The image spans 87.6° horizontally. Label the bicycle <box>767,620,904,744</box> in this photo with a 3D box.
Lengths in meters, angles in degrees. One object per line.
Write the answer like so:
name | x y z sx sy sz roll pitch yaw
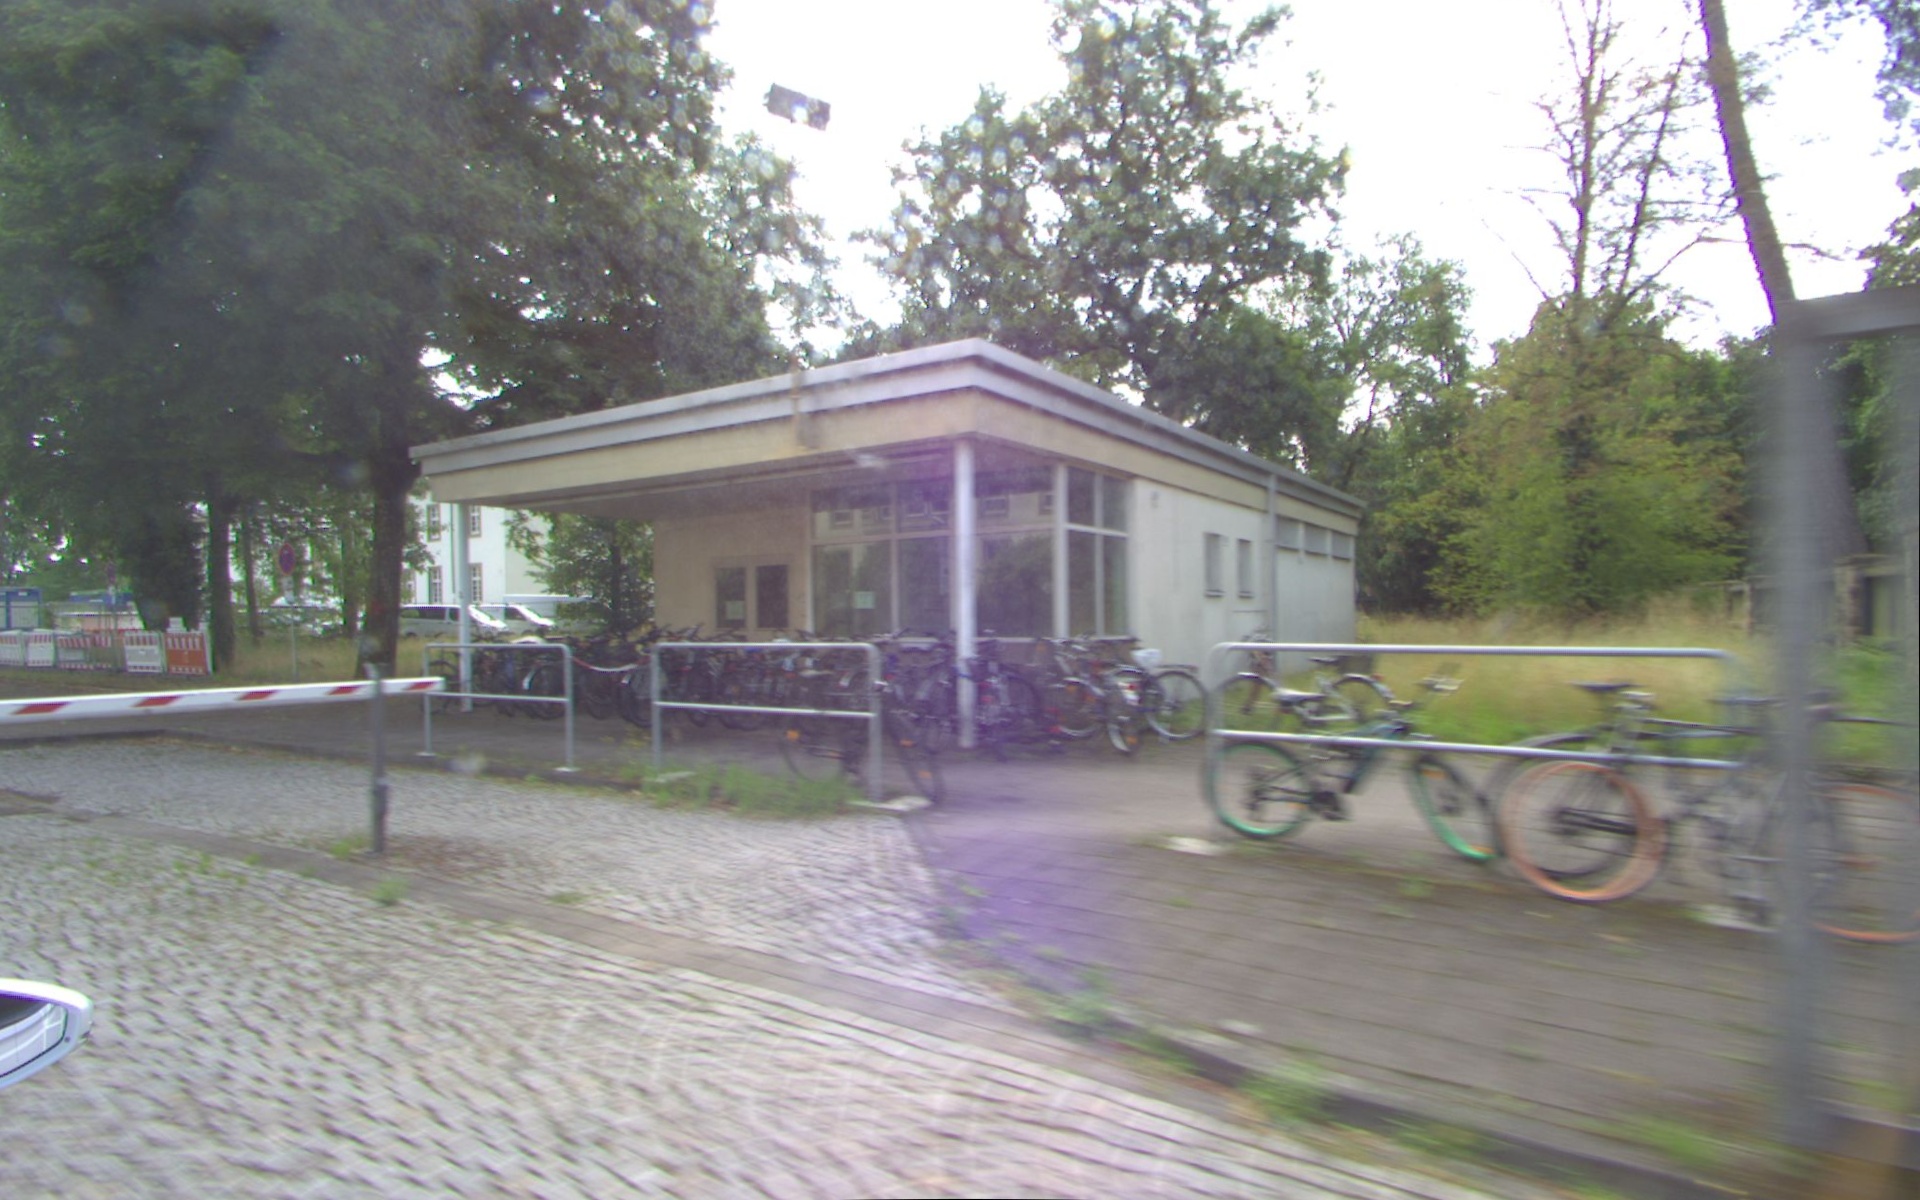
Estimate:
bicycle | -1.302 0.841 10.945 0.386 1.186 2.070 -3 -1 26

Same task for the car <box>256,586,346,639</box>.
car | -32.585 0.654 49.449 5.287 2.455 1.987 -2 -1 36

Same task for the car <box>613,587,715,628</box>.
car | -16.626 0.452 56.181 5.617 1.982 2.435 -3 -1 35

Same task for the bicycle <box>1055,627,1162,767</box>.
bicycle | 1.381 0.868 9.569 0.428 1.134 1.651 -2 2 -12

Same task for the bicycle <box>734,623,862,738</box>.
bicycle | -1.839 0.891 11.714 0.395 1.186 2.016 -2 -1 24

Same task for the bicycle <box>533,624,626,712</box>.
bicycle | -5.471 0.954 14.463 0.353 1.186 1.378 -3 -1 24

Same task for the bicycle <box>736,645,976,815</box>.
bicycle | -0.789 0.904 7.456 1.689 1.087 0.728 -1 1 33

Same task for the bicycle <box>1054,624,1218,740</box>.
bicycle | 1.768 0.802 10.149 1.572 1.098 0.434 -1 0 31

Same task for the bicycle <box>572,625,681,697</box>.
bicycle | -5.449 0.983 16.332 1.866 1.134 0.371 -1 0 22

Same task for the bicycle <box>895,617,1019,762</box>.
bicycle | 0.000 0.825 9.650 0.430 1.187 1.387 -3 3 33

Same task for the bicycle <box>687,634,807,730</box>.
bicycle | -2.597 0.977 12.458 0.394 1.042 1.980 -3 -1 21

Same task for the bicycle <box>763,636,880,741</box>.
bicycle | -1.525 0.959 11.306 0.348 1.044 1.769 -3 -1 26

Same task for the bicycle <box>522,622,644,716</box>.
bicycle | -5.248 0.932 14.040 0.353 1.186 1.799 -3 -1 26

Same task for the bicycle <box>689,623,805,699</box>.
bicycle | -3.361 0.970 15.767 1.866 1.133 0.371 -2 0 22

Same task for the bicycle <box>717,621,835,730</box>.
bicycle | -2.207 0.882 12.297 0.394 1.186 1.980 -3 -1 21

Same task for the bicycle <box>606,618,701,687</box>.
bicycle | -5.289 0.912 17.235 1.871 1.143 0.370 -3 0 31

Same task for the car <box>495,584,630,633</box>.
car | -20.252 0.445 51.161 6.079 2.338 2.000 -1 -1 1

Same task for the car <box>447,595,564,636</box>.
car | -21.963 0.753 48.497 4.746 1.812 2.000 -1 -1 5

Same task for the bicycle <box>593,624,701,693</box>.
bicycle | -5.215 0.978 16.658 1.866 1.097 0.371 -2 0 22

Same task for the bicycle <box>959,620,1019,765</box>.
bicycle | 0.299 0.819 9.447 0.428 1.186 1.652 -3 1 5

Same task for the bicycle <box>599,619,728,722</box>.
bicycle | -3.743 0.864 12.805 0.573 1.186 1.802 -3 -1 20

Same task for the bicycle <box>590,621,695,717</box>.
bicycle | -4.257 0.895 13.565 0.488 1.186 1.805 -3 -1 12

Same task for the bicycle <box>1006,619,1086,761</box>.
bicycle | 0.793 0.805 9.617 0.428 1.186 1.652 -3 1 -5

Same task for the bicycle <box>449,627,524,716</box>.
bicycle | -6.720 0.989 14.270 0.352 1.186 1.383 -3 -1 0

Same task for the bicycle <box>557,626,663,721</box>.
bicycle | -4.756 0.970 13.726 0.488 1.186 1.749 -3 -1 12

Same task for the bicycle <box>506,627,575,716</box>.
bicycle | -5.930 0.984 14.213 0.352 1.186 1.383 -3 -1 0

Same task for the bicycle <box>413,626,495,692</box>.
bicycle | -8.860 1.011 17.524 1.561 1.101 0.503 0 1 30

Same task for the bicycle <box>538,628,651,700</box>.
bicycle | -5.723 0.985 15.650 1.880 1.081 0.371 -1 1 22

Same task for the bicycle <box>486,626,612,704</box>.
bicycle | -6.256 0.986 15.268 1.764 1.133 0.446 -1 0 7

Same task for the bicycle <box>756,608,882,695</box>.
bicycle | -1.994 0.716 14.424 0.441 1.133 1.880 -2 0 45

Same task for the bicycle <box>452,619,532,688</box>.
bicycle | -8.397 0.964 17.948 1.533 1.186 0.503 -3 -1 32

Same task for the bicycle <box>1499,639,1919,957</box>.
bicycle | 3.377 0.798 4.445 1.691 1.186 0.500 1 1 33

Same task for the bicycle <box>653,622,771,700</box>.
bicycle | -3.814 0.947 15.374 1.866 1.133 0.371 -2 0 22

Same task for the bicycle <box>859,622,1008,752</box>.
bicycle | -0.223 0.854 10.528 0.479 1.186 2.066 -3 -1 31

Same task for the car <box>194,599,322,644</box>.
car | -30.895 0.926 44.162 1.973 1.844 4.208 -2 -1 34

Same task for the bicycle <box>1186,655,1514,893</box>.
bicycle | 2.129 0.870 5.508 1.572 1.071 0.728 -1 1 33

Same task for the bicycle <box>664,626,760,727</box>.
bicycle | -3.121 0.934 12.754 0.394 1.174 1.704 -3 -1 13

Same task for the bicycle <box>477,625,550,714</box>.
bicycle | -6.323 0.957 14.234 0.352 1.186 1.383 -3 -1 0

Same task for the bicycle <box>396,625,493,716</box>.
bicycle | -7.382 0.987 14.404 0.425 1.186 1.381 -3 1 11

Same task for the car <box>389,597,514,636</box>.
car | -23.289 0.763 45.982 4.746 1.671 2.000 -1 -1 5

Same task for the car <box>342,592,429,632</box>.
car | -30.539 0.652 53.204 4.771 2.040 1.989 -1 0 32

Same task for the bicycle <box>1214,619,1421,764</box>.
bicycle | 3.192 0.802 9.075 0.432 1.186 1.708 -2 -1 -44

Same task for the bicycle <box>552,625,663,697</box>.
bicycle | -5.645 0.976 16.008 1.866 1.095 0.371 -2 0 22

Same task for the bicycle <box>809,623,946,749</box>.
bicycle | -0.836 0.871 10.773 0.478 1.186 1.947 -3 -1 27
